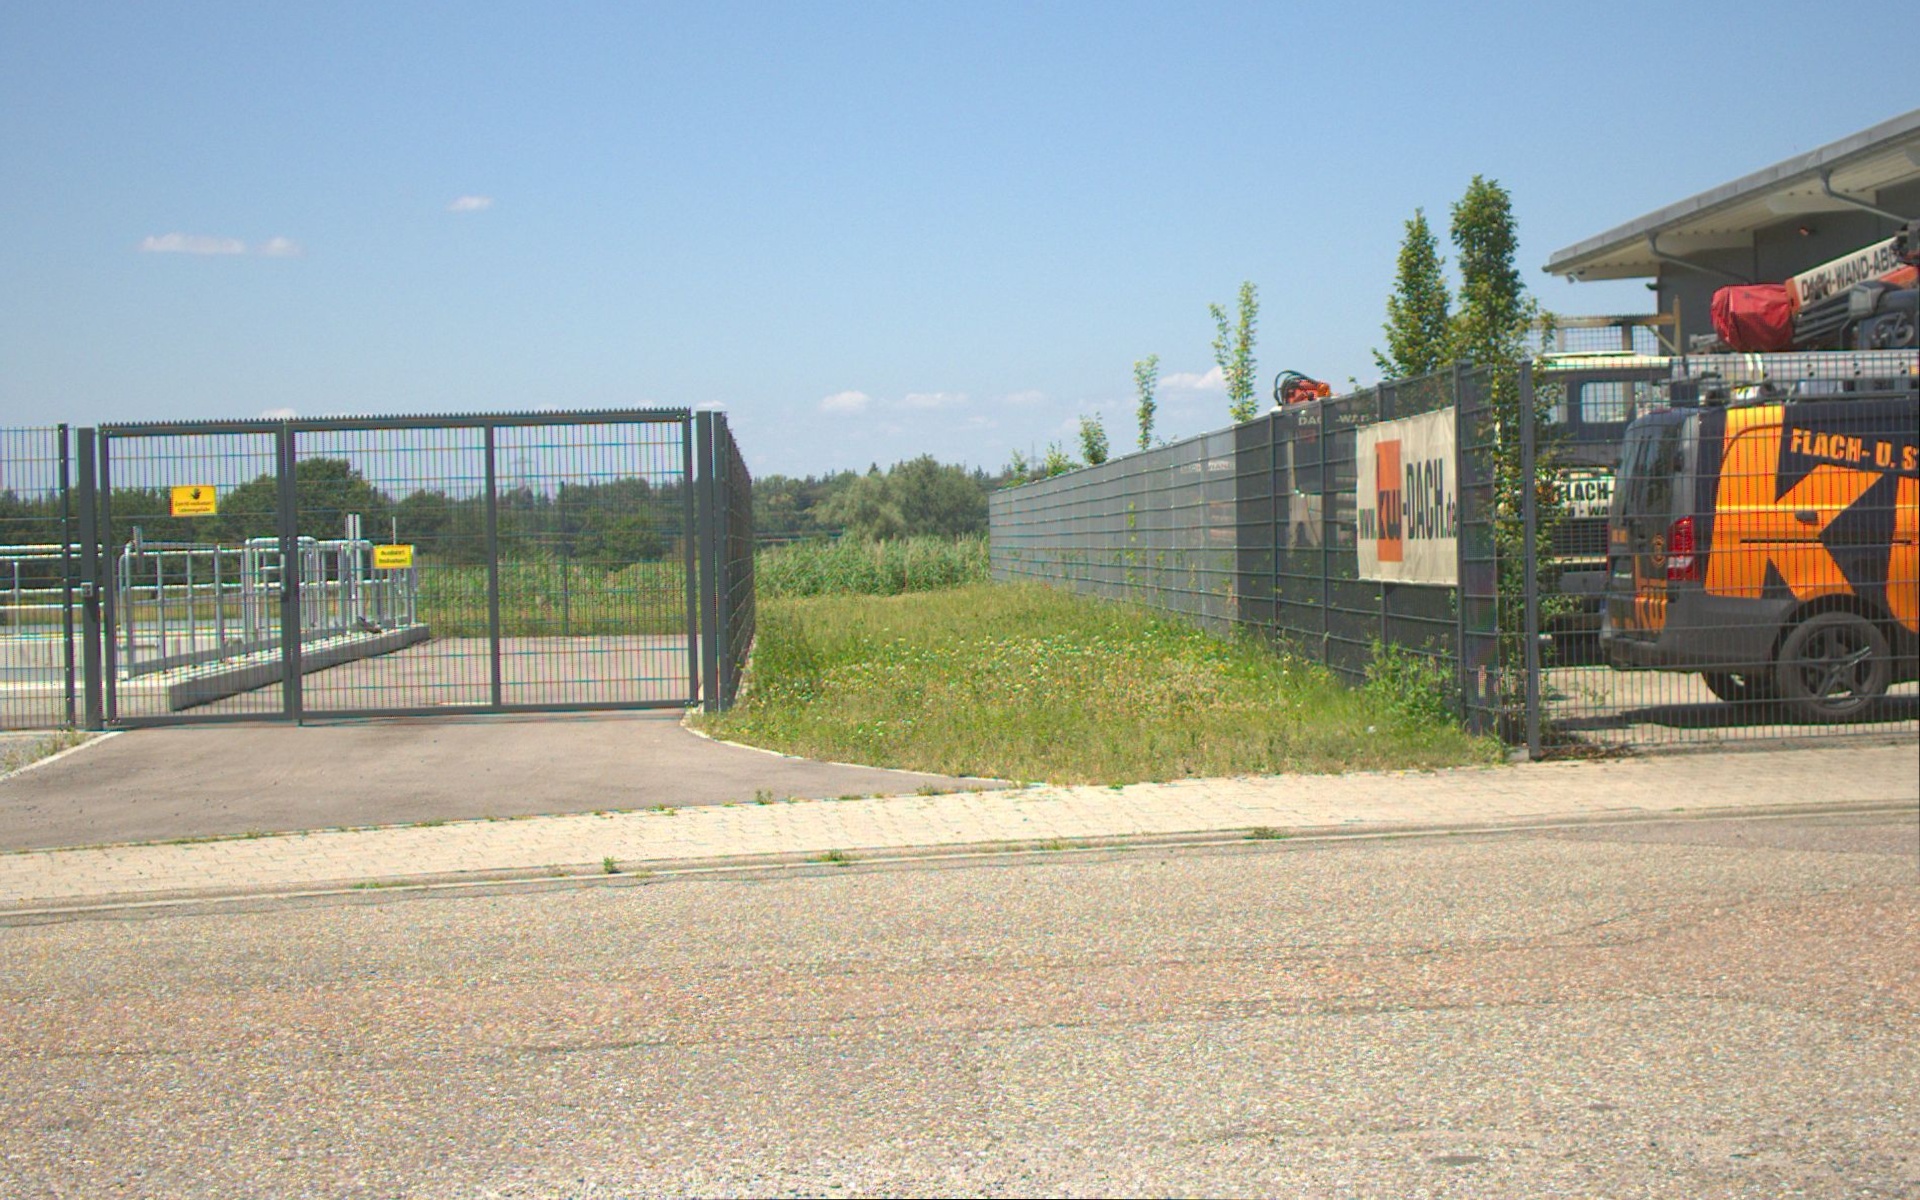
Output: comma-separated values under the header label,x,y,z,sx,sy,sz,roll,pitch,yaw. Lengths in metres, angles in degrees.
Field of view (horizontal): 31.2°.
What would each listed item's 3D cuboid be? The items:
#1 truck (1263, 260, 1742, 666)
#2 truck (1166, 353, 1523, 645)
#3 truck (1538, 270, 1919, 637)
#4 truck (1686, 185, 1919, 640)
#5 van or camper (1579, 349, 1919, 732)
label,x,y,z,sx,sy,sz,roll,pitch,yaw
truck,4.489,-1.123,29.929,2.726,3.051,6.937,-2,1,-2
truck,4.181,-1.110,38.940,2.921,2.927,6.937,-2,1,-2
truck,9.082,-1.663,40.798,2.921,3.915,6.937,-2,1,-2
truck,9.385,-1.725,33.215,2.921,3.915,6.937,-2,1,-2
van or camper,6.438,-0.430,20.811,4.936,2.156,2.000,-2,2,-2
